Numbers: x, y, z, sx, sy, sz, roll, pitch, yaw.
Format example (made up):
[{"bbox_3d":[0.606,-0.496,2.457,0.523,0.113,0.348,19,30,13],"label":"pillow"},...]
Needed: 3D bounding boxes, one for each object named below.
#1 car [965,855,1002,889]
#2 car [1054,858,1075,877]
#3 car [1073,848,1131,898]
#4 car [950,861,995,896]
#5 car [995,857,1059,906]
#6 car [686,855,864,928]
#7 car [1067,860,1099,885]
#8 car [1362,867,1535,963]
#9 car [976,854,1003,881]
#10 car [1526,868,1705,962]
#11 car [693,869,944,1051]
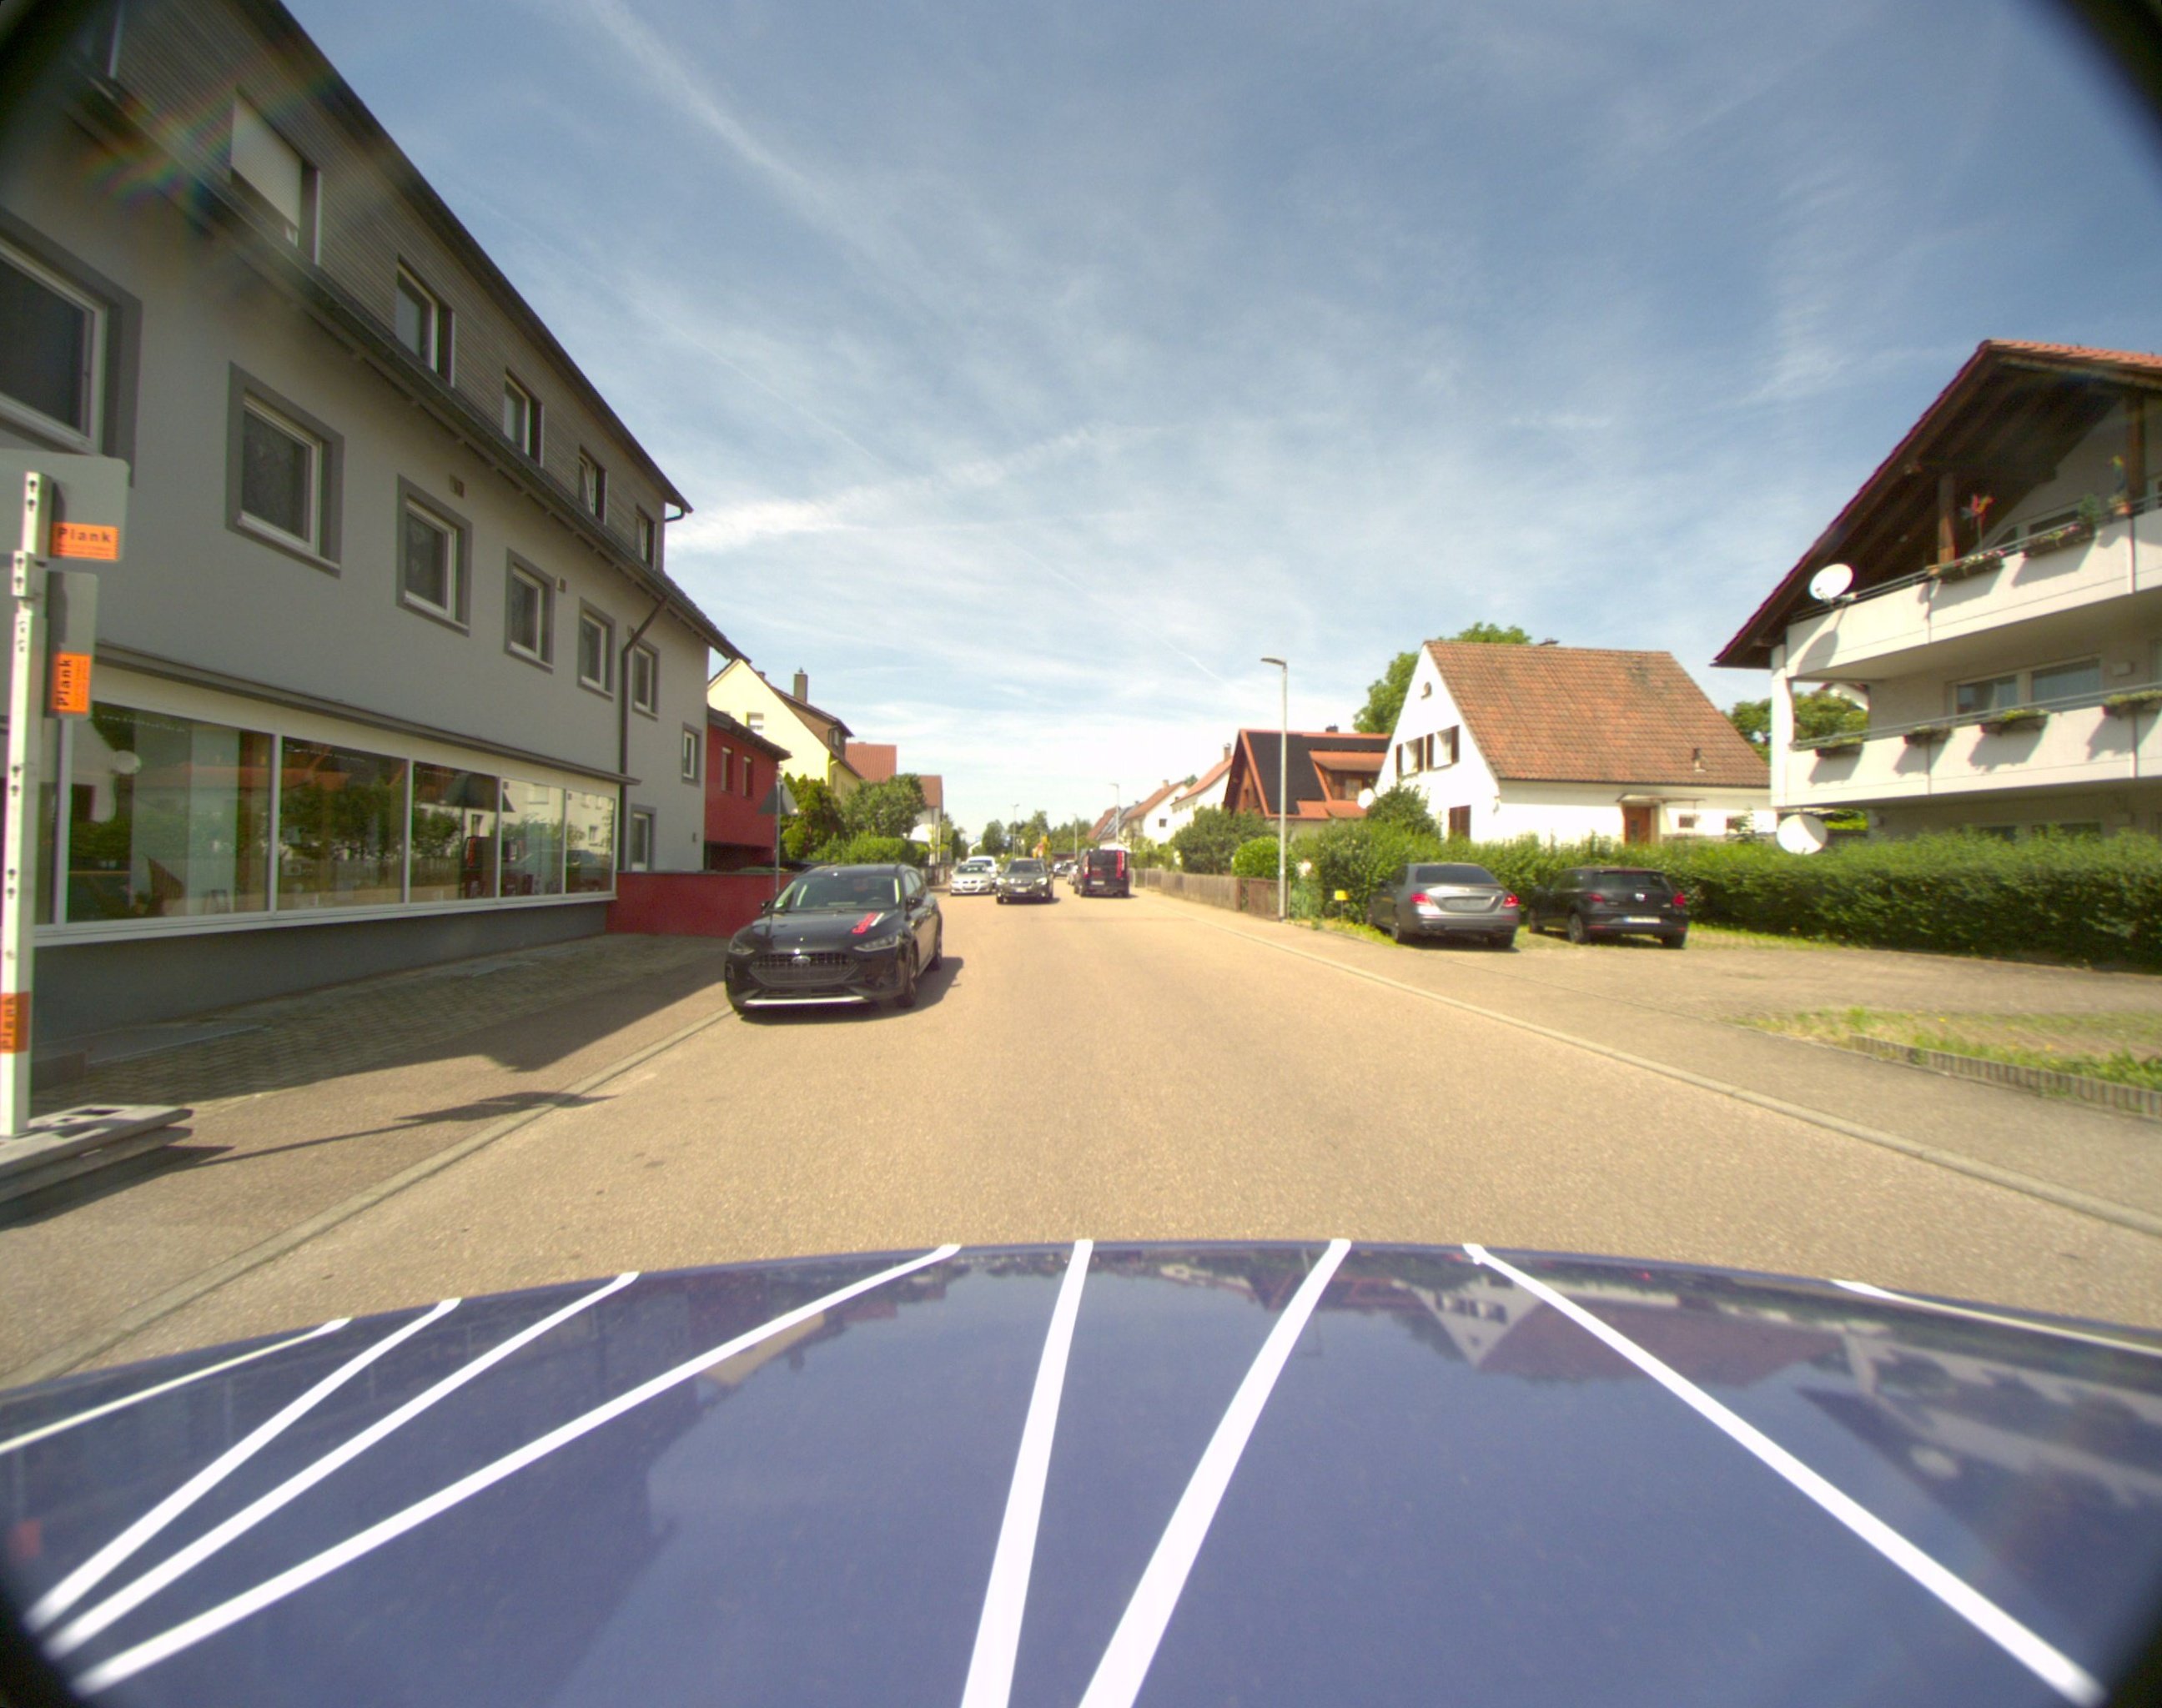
[{"bbox_3d":[-5.164,0.911,40.474,1.741,1.652,4.335,-1,0,-5],"label":"car"},{"bbox_3d":[-1.369,1.088,62.739,1.602,1.450,3.659,1,0,-3],"label":"car"},{"bbox_3d":[0.806,0.761,32.234,1.974,1.940,4.694,1,0,-4],"label":"car"},{"bbox_3d":[-4.790,1.033,34.087,1.756,1.412,4.418,-1,0,-5],"label":"car"},{"bbox_3d":[-1.866,0.917,27.489,1.838,1.637,4.324,0,0,2],"label":"car"},{"bbox_3d":[-8.849,1.041,22.325,4.380,1.659,1.875,-5,1,-6],"label":"car"},{"bbox_3d":[0.072,1.096,46.490,1.586,1.434,3.264,1,0,-7],"label":"car"},{"bbox_3d":[6.624,0.990,14.248,1.830,1.423,4.567,0,0,11],"label":"car"},{"bbox_3d":[-6.279,0.881,52.367,1.671,1.739,4.054,-1,0,-5],"label":"car"},{"bbox_3d":[10.029,1.051,14.589,1.691,1.492,3.656,1,0,16],"label":"car"},{"bbox_3d":[-2.744,0.990,9.033,1.767,1.518,4.404,-1,0,-5],"label":"car"}]
